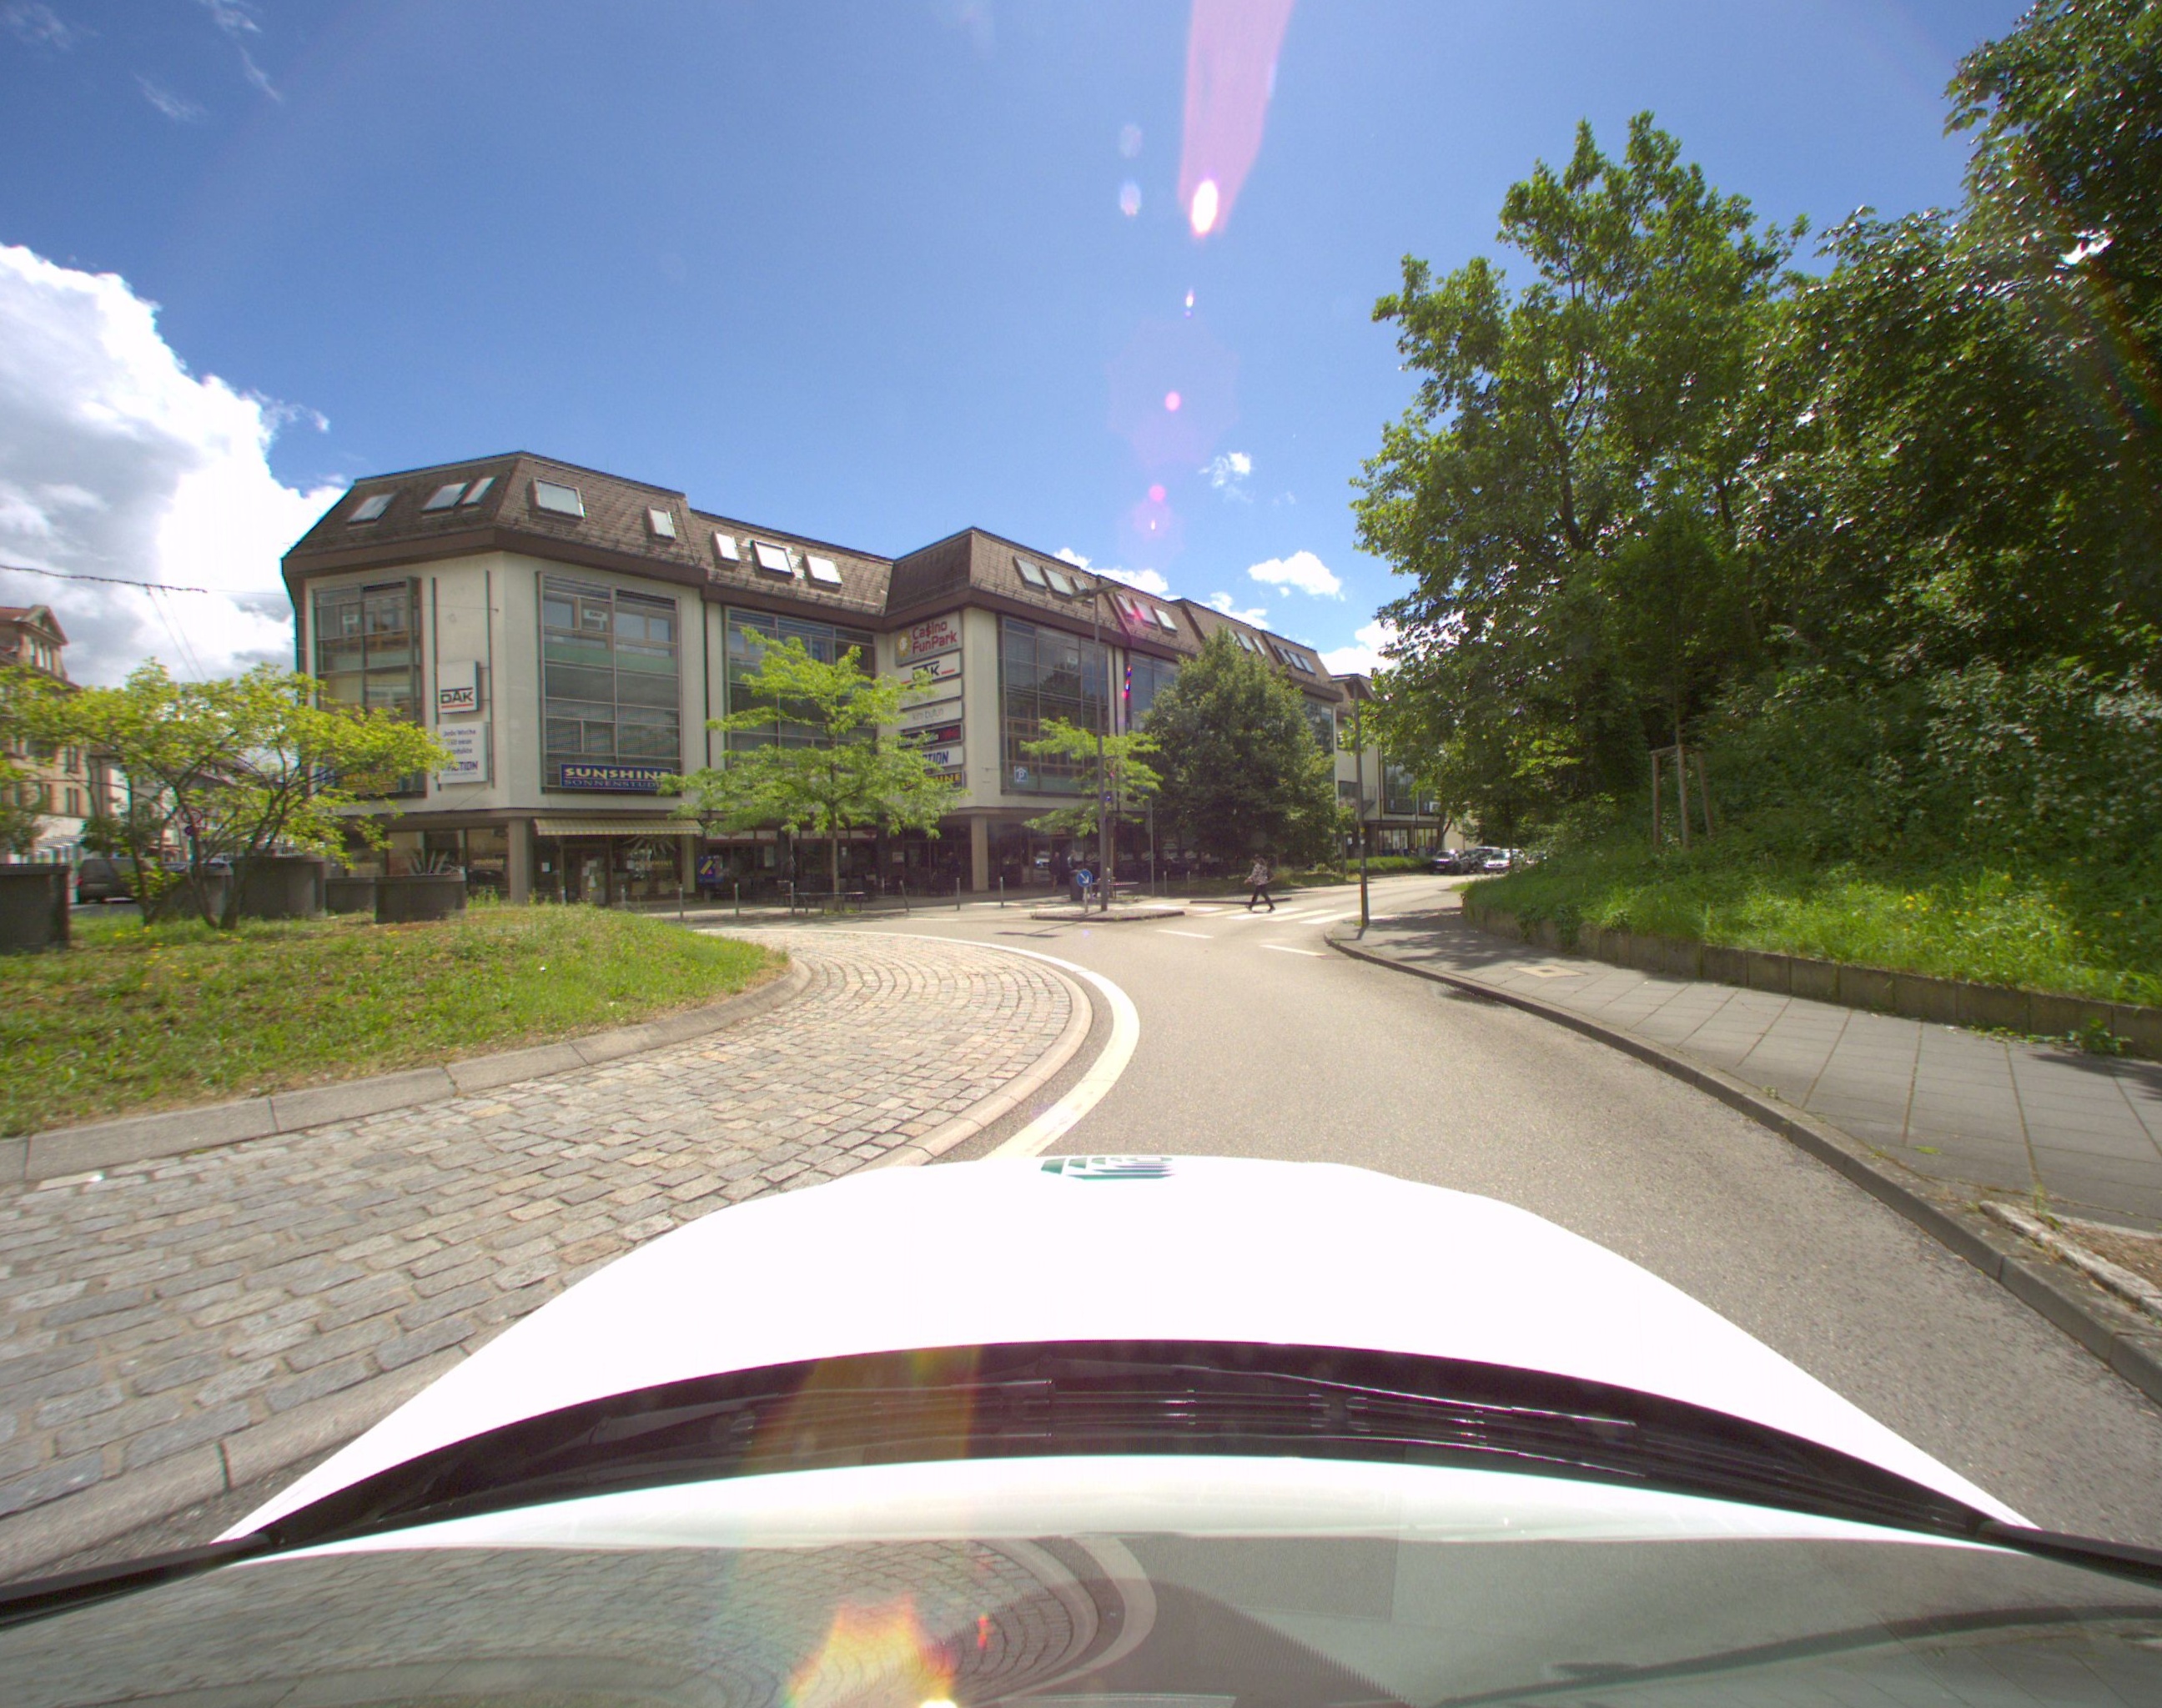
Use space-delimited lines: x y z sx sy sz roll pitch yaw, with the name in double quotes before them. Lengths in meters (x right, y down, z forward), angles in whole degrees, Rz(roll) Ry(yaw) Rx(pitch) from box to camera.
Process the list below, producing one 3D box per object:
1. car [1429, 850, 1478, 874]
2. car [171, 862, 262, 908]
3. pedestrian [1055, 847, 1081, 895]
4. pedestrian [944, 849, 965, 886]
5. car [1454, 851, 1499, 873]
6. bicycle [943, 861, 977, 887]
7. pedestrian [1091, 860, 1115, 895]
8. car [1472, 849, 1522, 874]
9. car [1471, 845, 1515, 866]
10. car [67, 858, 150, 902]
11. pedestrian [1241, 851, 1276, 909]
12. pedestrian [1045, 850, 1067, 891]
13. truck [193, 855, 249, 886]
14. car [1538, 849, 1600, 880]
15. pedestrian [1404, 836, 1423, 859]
"car" 24.886 0.518 54.346 1.974 1.508 4.614 0 0 38
"car" -36.585 1.244 34.588 1.839 1.730 4.186 -3 1 -36
"pedestrian" -0.496 0.661 31.861 0.689 1.818 0.621 -1 4 45
"pedestrian" -5.952 0.628 38.310 0.609 1.674 0.702 -1 0 39
"car" 28.295 0.561 58.158 1.974 1.508 4.614 0 0 38
"bicycle" -5.662 0.922 38.039 1.536 1.168 0.495 0 -1 -7
"pedestrian" 0.842 0.884 30.970 0.620 1.285 0.690 0 0 -38
"car" 26.380 0.465 51.575 1.974 1.508 4.614 0 0 38
"car" 31.833 0.093 62.860 1.974 1.508 4.613 0 0 41
"car" -40.361 1.047 33.889 4.385 1.707 1.840 -1 -1 44
"pedestrian" 4.804 0.691 22.065 0.761 1.554 0.778 0 0 -3
"pedestrian" -1.029 0.666 33.748 0.609 1.674 0.702 0 0 27
"truck" -65.797 1.216 62.392 2.082 2.165 5.234 -2 1 -38
"car" 23.527 0.492 39.191 1.735 1.330 4.025 -5 -2 42
"pedestrian" 29.488 -0.593 72.214 1.331 2.014 1.095 -1 -2 38
